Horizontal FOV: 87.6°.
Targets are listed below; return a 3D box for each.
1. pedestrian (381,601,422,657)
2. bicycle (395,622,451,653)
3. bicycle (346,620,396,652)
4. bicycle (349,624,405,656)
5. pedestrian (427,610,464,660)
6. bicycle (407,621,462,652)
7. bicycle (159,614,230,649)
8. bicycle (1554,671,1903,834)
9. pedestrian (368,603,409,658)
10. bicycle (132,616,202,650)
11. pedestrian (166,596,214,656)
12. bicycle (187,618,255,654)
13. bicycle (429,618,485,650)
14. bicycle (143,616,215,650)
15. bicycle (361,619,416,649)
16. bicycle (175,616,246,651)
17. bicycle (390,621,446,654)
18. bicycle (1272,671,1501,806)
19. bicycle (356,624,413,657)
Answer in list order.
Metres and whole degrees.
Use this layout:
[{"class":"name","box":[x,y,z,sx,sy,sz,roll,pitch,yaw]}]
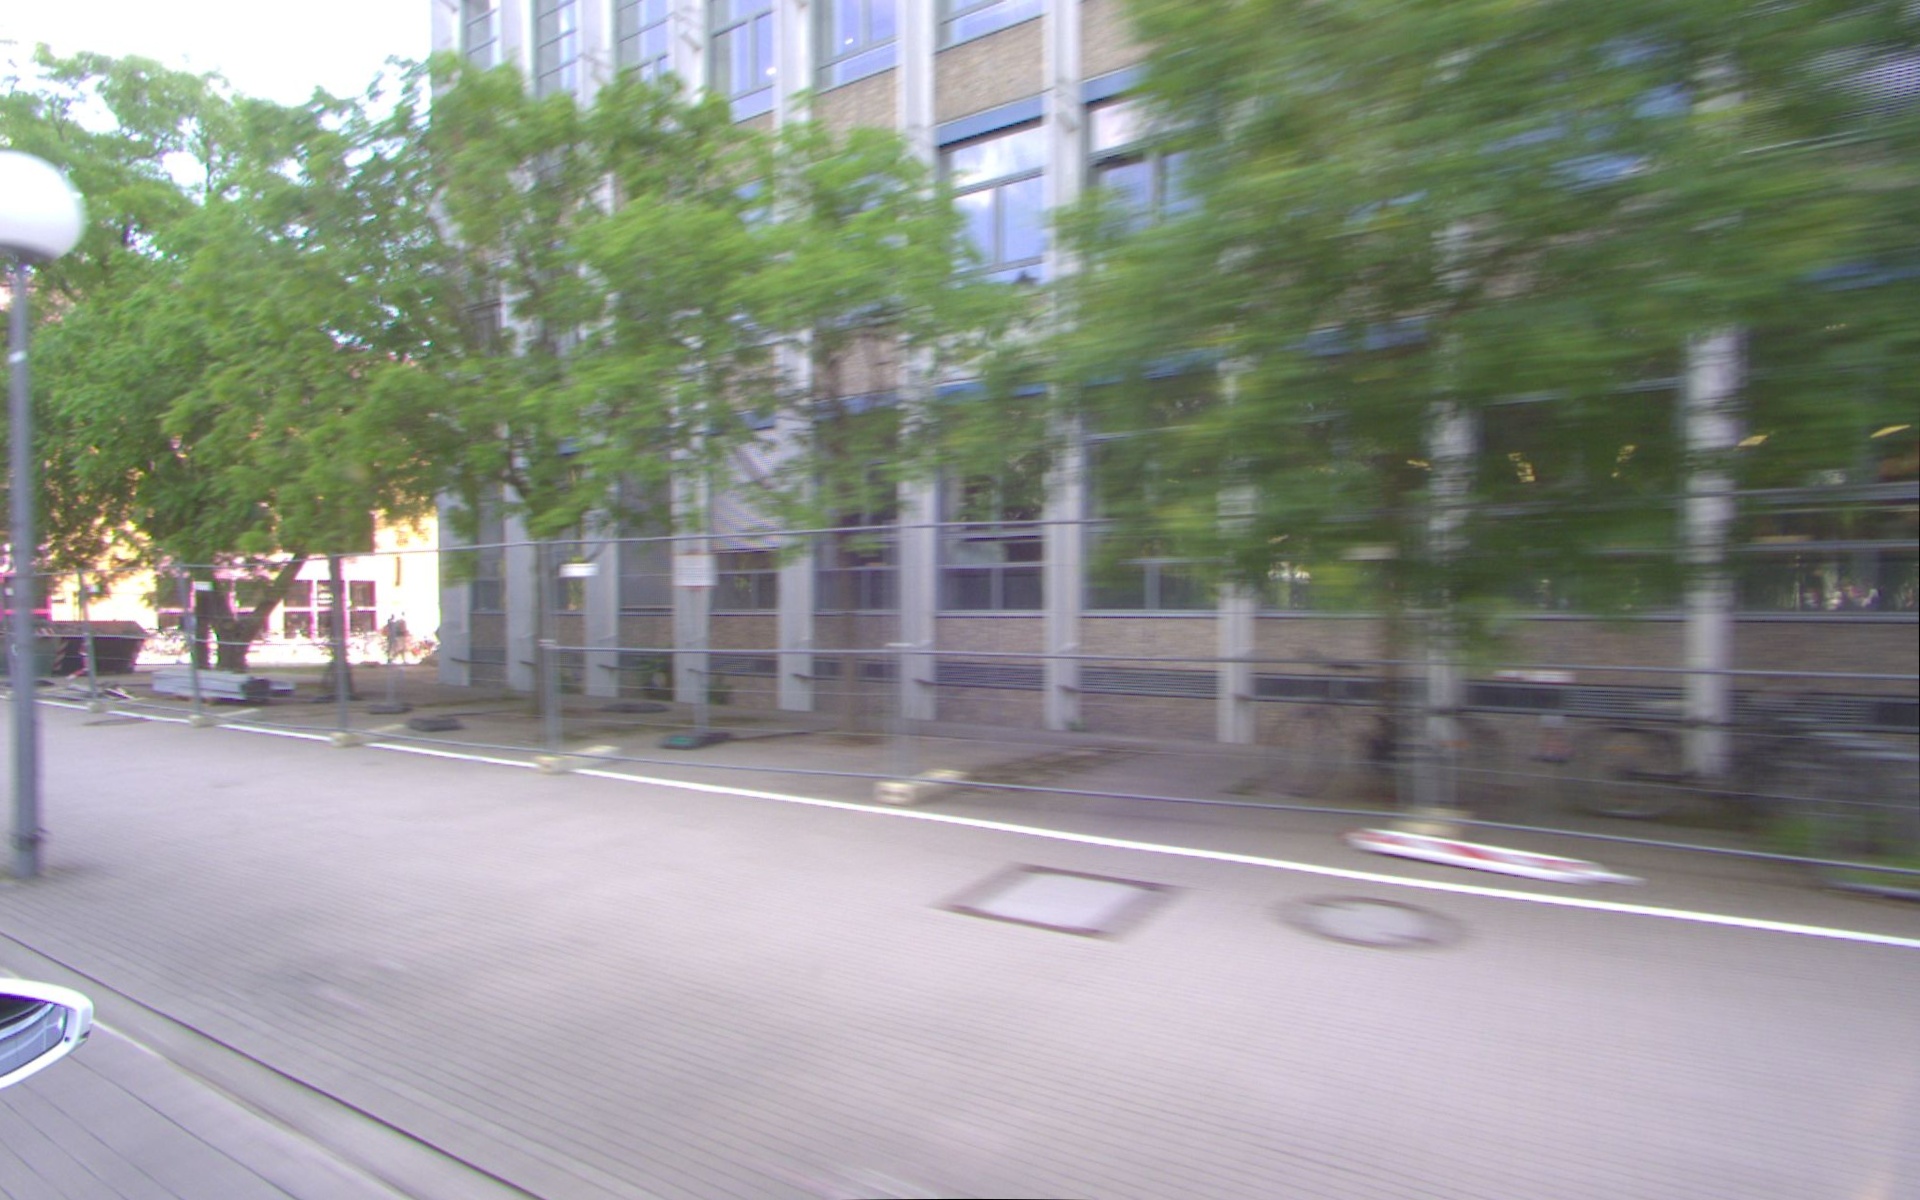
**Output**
[{"class":"pedestrian","box":[-18.121,0.938,32.524,0.674,1.750,0.901,-2,-1,27]},{"class":"bicycle","box":[-21.396,1.499,39.947,0.467,1.184,1.994,0,-2,31]},{"class":"bicycle","box":[-22.515,1.389,38.296,0.465,1.184,1.810,1,-2,16]},{"class":"bicycle","box":[-21.895,1.497,37.611,0.467,1.184,1.804,0,-2,30]},{"class":"pedestrian","box":[-18.352,1.241,35.737,0.674,1.750,0.901,-2,-1,27]},{"class":"bicycle","box":[-20.870,1.460,39.811,0.467,1.184,1.994,0,-2,31]},{"class":"bicycle","box":[-25.206,1.036,33.001,0.516,1.124,1.807,0,-1,31]},{"class":"bicycle","box":[4.932,0.959,6.540,1.775,0.917,0.290,0,1,24]},{"class":"pedestrian","box":[-18.820,1.000,32.997,0.674,1.750,0.901,-2,-1,27]},{"class":"bicycle","box":[-26.788,1.106,33.862,0.516,1.124,1.808,0,-1,29]},{"class":"pedestrian","box":[-23.188,0.771,30.167,0.674,1.750,0.901,-2,-1,27]},{"class":"bicycle","box":[-23.681,1.149,32.124,0.468,1.124,1.689,0,-1,35]},{"class":"bicycle","box":[-19.507,1.322,38.898,0.467,1.184,1.994,0,-2,31]},{"class":"bicycle","box":[-25.983,1.101,33.342,0.517,1.124,1.804,0,-1,35]},{"class":"bicycle","box":[-23.530,1.404,41.238,0.467,1.184,1.994,0,-2,30]},{"class":"bicycle","box":[-24.547,1.089,32.827,0.517,1.124,1.804,0,-1,35]},{"class":"bicycle","box":[-20.001,1.403,36.990,0.468,1.184,1.801,0,-2,35]},{"class":"bicycle","box":[3.245,1.034,7.706,1.592,0.917,0.290,0,1,24]},{"class":"bicycle","box":[-21.439,1.511,37.339,0.467,1.184,1.803,0,-2,32]}]
